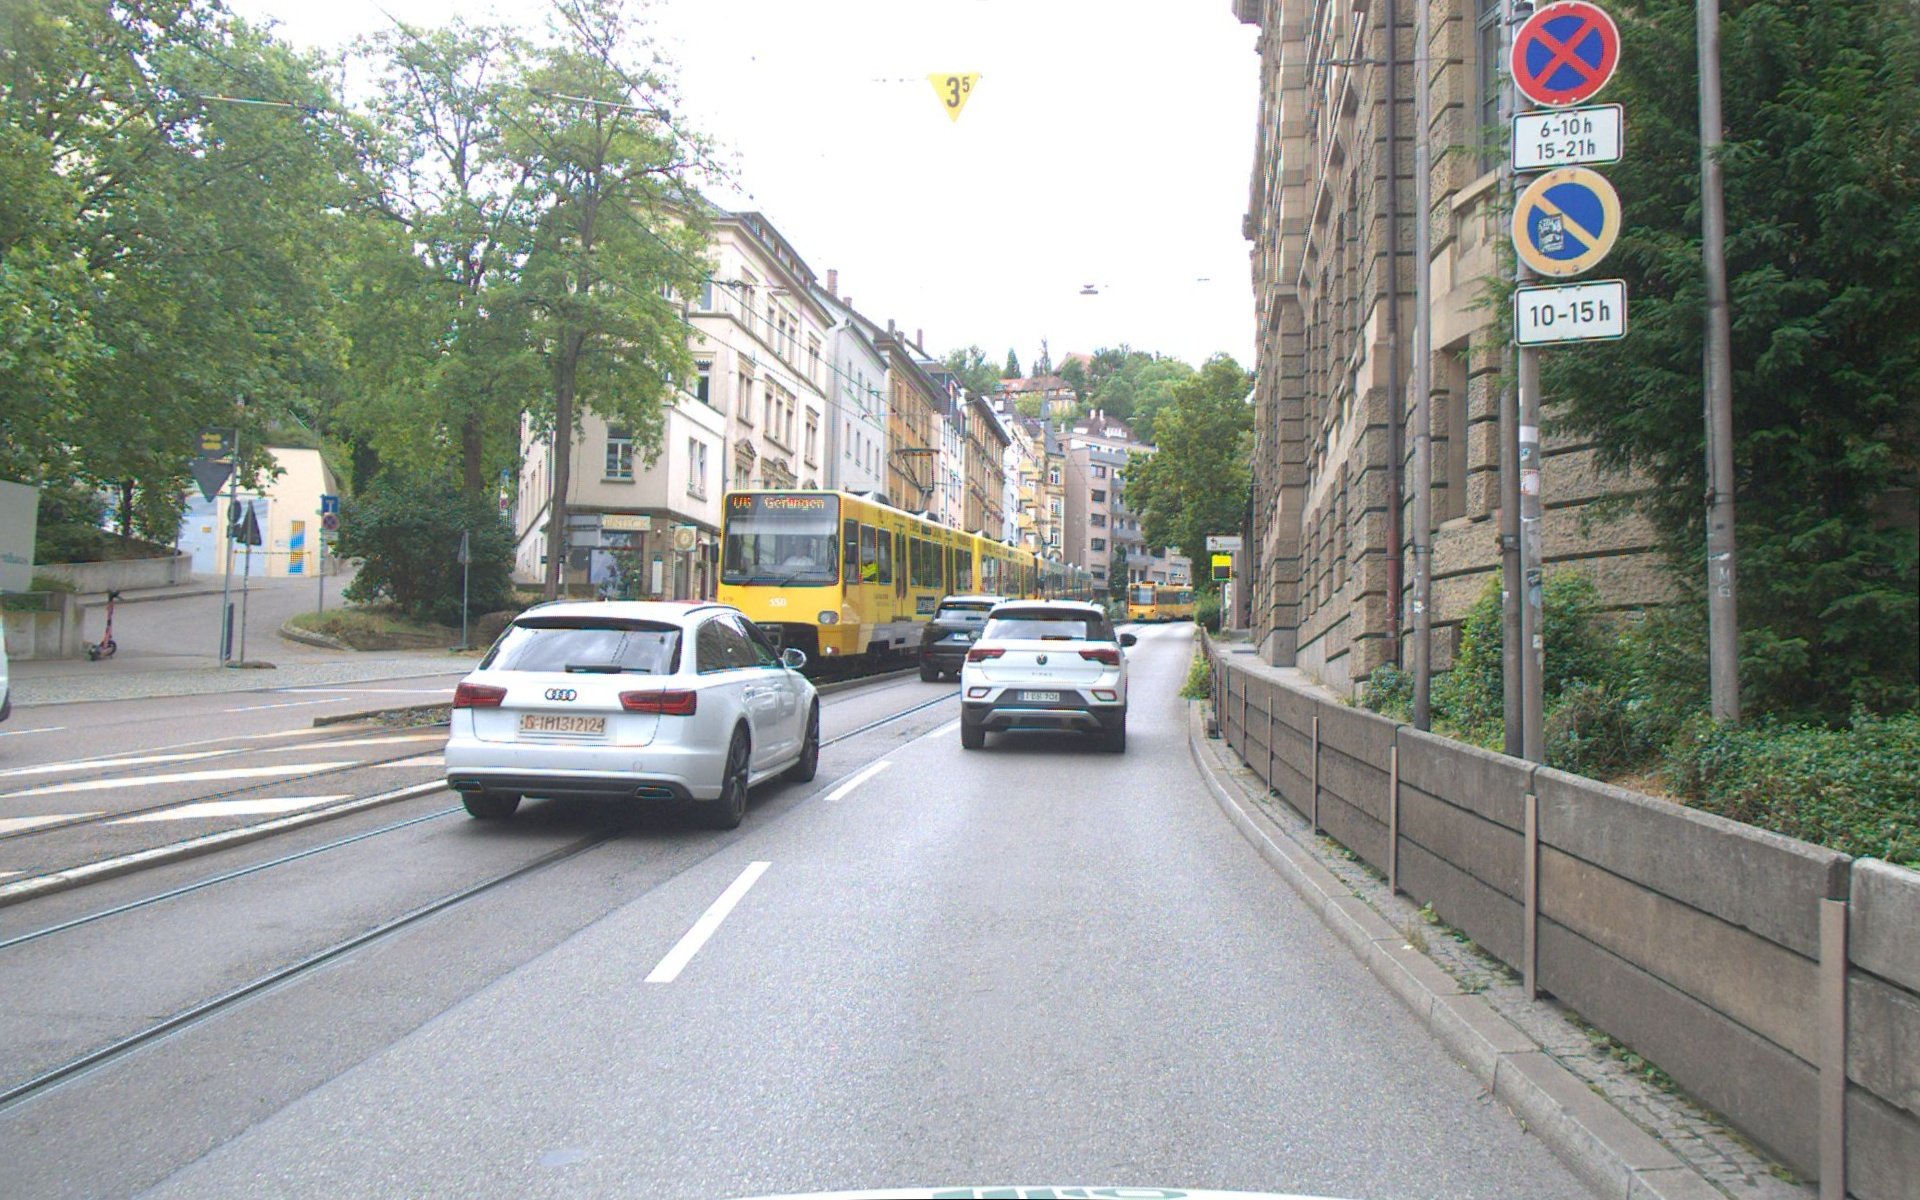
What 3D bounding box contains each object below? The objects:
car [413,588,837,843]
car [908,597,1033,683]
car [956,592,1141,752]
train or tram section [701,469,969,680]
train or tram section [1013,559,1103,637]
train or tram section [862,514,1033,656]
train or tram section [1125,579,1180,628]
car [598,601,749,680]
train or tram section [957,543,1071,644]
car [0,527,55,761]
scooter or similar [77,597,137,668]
[{"bbox_3d":[-2.186,0.682,12.217,1.839,1.480,4.620,1,0,5],"label":"car"},{"bbox_3d":[0.280,0.762,33.266,1.994,1.599,4.361,0,0,7],"label":"car"},{"bbox_3d":[1.035,0.731,18.543,1.839,1.582,4.002,0,0,4],"label":"car"},{"bbox_3d":[-2.284,-0.419,37.839,2.821,3.791,14.867,2,0,8],"label":"train or tram section"},{"bbox_3d":[5.650,-0.015,91.528,2.815,3.791,18.771,2,0,10],"label":"train or tram section"},{"bbox_3d":[0.053,-0.326,54.462,2.815,3.791,18.716,2,0,8],"label":"train or tram section"},{"bbox_3d":[18.047,0.400,154.134,2.952,4.288,18.873,0,0,13],"label":"train or tram section"},{"bbox_3d":[-5.903,0.803,34.585,1.951,1.530,4.002,1,0,8],"label":"car"},{"bbox_3d":[2.704,-0.160,73.007,2.815,3.791,18.771,2,0,8],"label":"train or tram section"},{"bbox_3d":[-9.317,0.366,12.299,1.906,1.980,5.006,0,0,8],"label":"car"},{"bbox_3d":[-15.550,0.581,30.187,0.480,1.240,1.637,3,-1,-11],"label":"scooter or similar"}]
